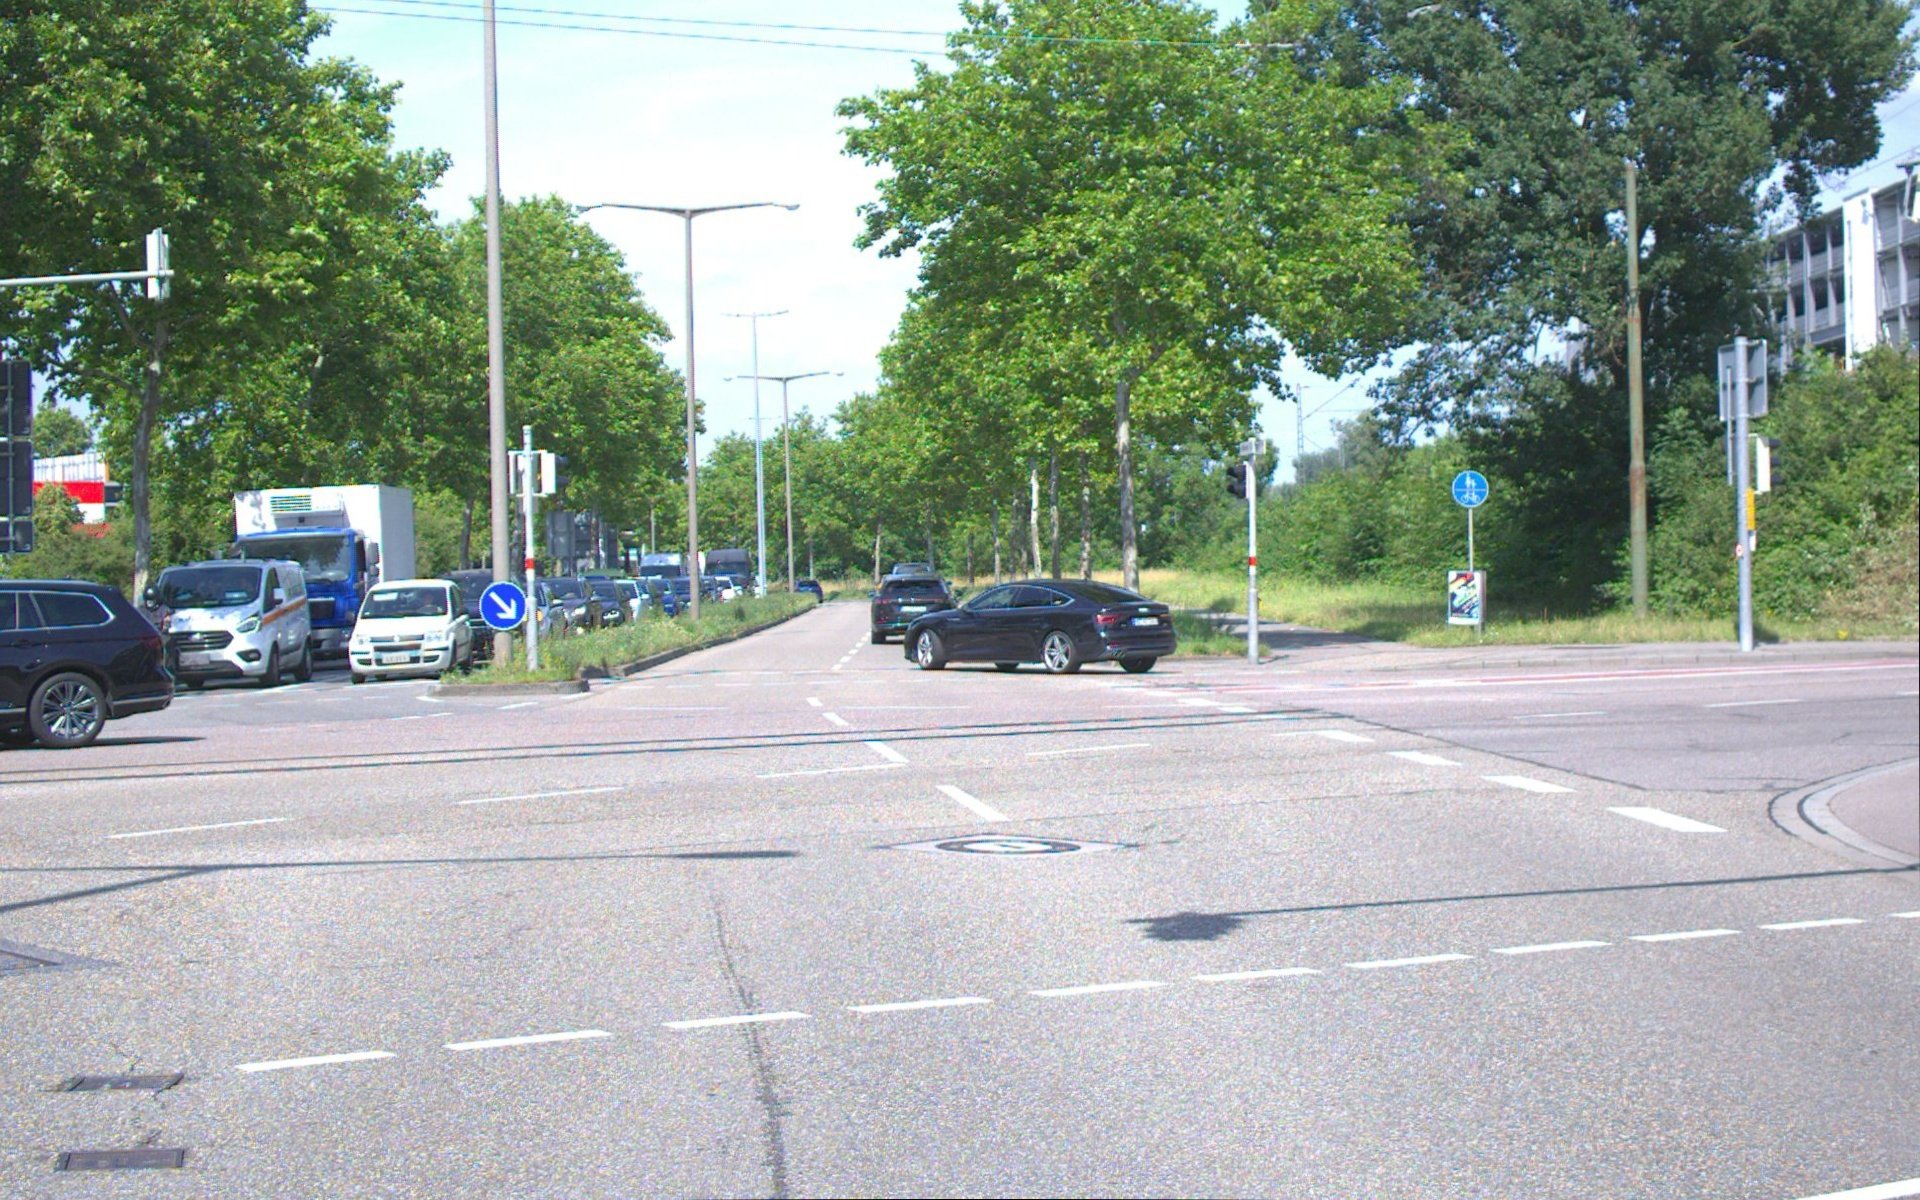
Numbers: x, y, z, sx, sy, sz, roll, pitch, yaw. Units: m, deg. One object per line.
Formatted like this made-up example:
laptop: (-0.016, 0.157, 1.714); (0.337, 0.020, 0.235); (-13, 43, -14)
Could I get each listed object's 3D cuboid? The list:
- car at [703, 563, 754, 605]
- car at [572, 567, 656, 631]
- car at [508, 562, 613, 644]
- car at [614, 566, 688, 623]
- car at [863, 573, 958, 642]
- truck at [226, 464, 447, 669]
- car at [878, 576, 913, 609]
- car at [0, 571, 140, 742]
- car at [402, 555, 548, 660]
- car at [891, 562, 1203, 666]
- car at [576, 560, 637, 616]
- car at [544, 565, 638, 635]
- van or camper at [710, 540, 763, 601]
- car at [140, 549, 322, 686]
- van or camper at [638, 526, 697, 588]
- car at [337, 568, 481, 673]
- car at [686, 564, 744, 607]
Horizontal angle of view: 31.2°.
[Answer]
car: (-8.862, -0.636, 131.822); (1.689, 1.505, 3.815); (-2, 1, -1)
car: (-8.519, -0.048, 84.887); (1.689, 1.467, 3.815); (-2, 1, -1)
car: (-8.335, 0.040, 71.975); (1.689, 1.581, 4.240); (-2, 1, -1)
car: (-8.747, -0.176, 97.582); (1.784, 1.484, 4.212); (-2, 1, -2)
car: (-1.083, 0.134, 73.424); (1.834, 1.386, 4.265); (-1, 1, -3)
truck: (-11.417, -0.652, 63.577); (2.804, 3.459, 6.692); (-3, 1, -1)
car: (-3.216, -0.387, 172.218); (1.689, 1.505, 3.815); (-2, 1, -1)
car: (-9.396, 0.500, 29.563); (4.208, 1.438, 1.790); (-1, 1, -30)
car: (-8.193, 0.131, 58.451); (1.820, 1.641, 4.694); (-2, 0, -1)
car: (1.255, 0.194, 51.285); (1.909, 1.458, 4.618); (-2, 1, -44)
car: (-12.220, -0.428, 118.920); (1.689, 1.852, 4.036); (-2, 0, -1)
car: (-8.474, -0.017, 79.250); (1.689, 1.468, 4.218); (-3, 1, -1)
van or camper: (-9.126, -1.182, 140.724); (1.938, 2.360, 5.398); (-2, 0, -2)
car: (-11.218, 0.220, 53.233); (1.976, 1.992, 5.032); (-1, 1, -3)
van or camper: (-12.557, -1.850, 147.890); (2.015, 2.579, 5.517); (-2, 1, -1)
car: (-8.376, 0.278, 52.513); (1.593, 1.472, 3.729); (-2, 1, -1)
car: (-8.896, -0.532, 125.210); (1.783, 1.454, 4.472); (-2, 1, -1)
